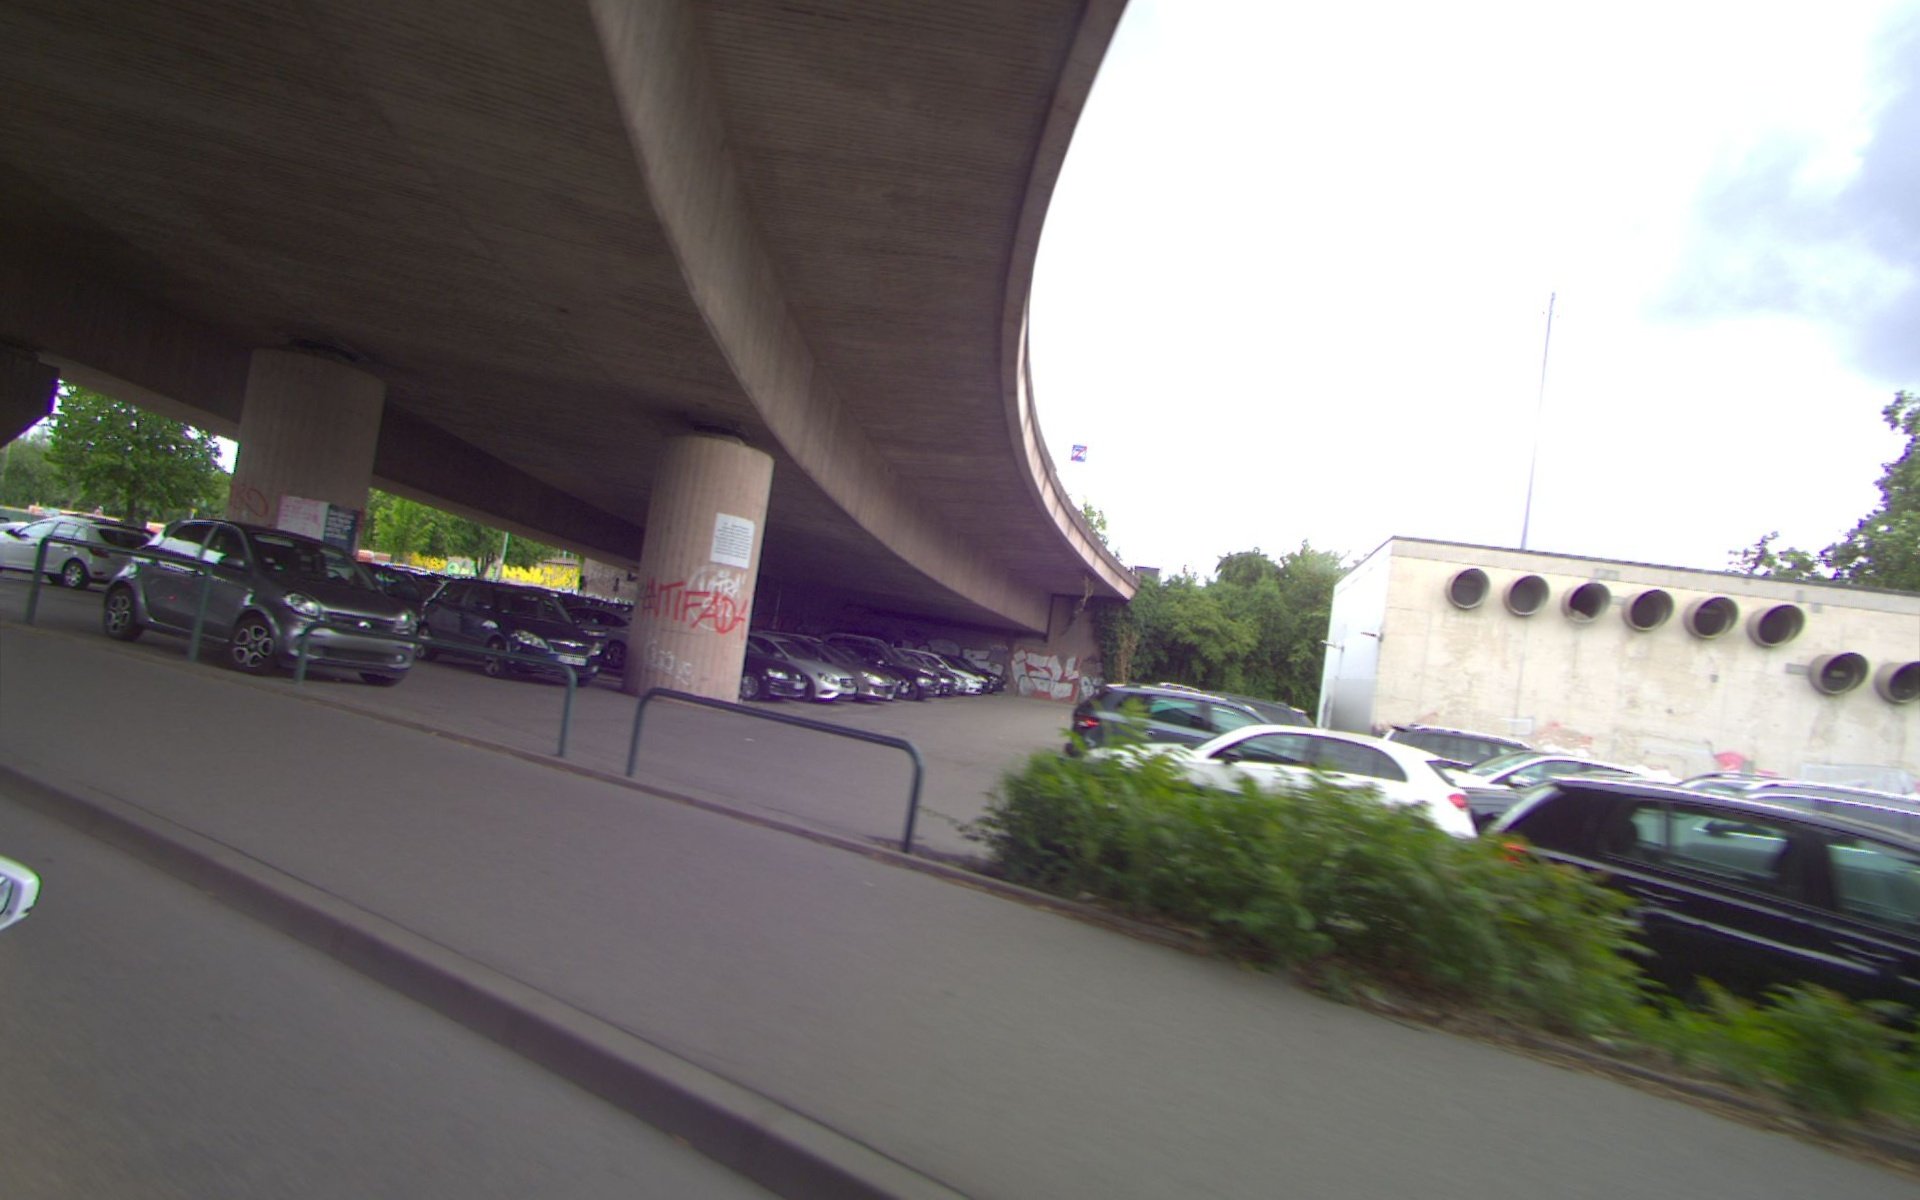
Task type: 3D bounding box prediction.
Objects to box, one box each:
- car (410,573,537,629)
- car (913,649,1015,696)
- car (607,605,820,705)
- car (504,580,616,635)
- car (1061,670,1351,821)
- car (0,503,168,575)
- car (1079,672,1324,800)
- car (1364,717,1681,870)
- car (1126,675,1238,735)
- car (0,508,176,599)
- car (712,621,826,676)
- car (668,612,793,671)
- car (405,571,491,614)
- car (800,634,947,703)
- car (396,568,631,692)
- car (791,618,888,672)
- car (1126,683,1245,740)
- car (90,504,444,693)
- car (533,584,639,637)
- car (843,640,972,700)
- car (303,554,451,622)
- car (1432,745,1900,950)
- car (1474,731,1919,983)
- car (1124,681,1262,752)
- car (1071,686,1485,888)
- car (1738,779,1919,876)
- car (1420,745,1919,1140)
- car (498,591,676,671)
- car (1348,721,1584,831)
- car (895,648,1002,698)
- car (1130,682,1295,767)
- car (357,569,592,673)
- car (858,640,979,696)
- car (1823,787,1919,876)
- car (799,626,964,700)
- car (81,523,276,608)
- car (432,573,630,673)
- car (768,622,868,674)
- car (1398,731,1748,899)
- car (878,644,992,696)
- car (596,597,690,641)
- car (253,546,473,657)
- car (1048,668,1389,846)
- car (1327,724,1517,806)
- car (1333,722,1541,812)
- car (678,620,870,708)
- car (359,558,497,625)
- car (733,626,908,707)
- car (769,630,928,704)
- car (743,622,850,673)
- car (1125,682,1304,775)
[{"bbox_3d":[-18.258,0.040,37.810,3.789,1.450,1.761,8,-2,7],"label":"car"},{"bbox_3d":[0.200,3.259,45.281,4.112,1.482,1.841,8,-2,14],"label":"car"},{"bbox_3d":[-5.522,1.250,22.716,4.112,1.567,1.841,8,-2,14],"label":"car"},{"bbox_3d":[-16.719,0.342,42.146,3.789,1.656,1.761,8,-2,7],"label":"car"},{"bbox_3d":[3.894,2.257,16.240,4.112,1.610,1.841,8,-2,14],"label":"car"},{"bbox_3d":[-26.067,-1.771,29.590,1.481,1.435,4.256,9,-2,12],"label":"car"},{"bbox_3d":[4.484,2.487,18.946,4.112,1.610,1.841,8,-2,14],"label":"car"},{"bbox_3d":[9.625,3.280,17.594,4.348,1.710,1.760,8,-2,14],"label":"car"},{"bbox_3d":[8.888,4.190,40.301,4.112,1.707,1.841,8,-2,14],"label":"car"},{"bbox_3d":[-20.897,-1.125,23.570,3.935,1.569,1.642,8,-2,10],"label":"car"},{"bbox_3d":[-7.012,1.791,37.053,3.593,1.443,1.682,8,-2,14],"label":"car"},{"bbox_3d":[-8.010,1.465,35.240,3.788,1.443,1.682,8,-2,14],"label":"car"},{"bbox_3d":[-23.437,-0.316,46.190,1.549,1.455,3.384,8,-3,13],"label":"car"},{"bbox_3d":[-2.701,2.160,31.762,4.112,1.482,1.841,8,-2,14],"label":"car"},{"bbox_3d":[-7.495,0.474,16.787,3.801,1.522,1.788,5,-5,37],"label":"car"},{"bbox_3d":[-5.282,1.984,44.193,3.593,1.808,1.887,8,-2,14],"label":"car"},{"bbox_3d":[8.497,4.180,37.960,4.112,1.424,1.841,8,-2,14],"label":"car"},{"bbox_3d":[-7.853,-0.015,11.423,3.348,1.549,1.614,7,-4,24],"label":"car"},{"bbox_3d":[-16.400,0.475,44.188,3.789,1.656,1.761,8,-2,7],"label":"car"},{"bbox_3d":[-1.862,2.516,36.115,4.112,1.482,1.841,8,-2,14],"label":"car"},{"bbox_3d":[-19.259,-0.387,33.309,3.789,1.572,1.761,8,-2,7],"label":"car"},{"bbox_3d":[8.601,2.985,12.702,4.374,1.465,1.760,8,-2,14],"label":"car"},{"bbox_3d":[7.999,2.585,10.332,4.385,1.693,1.749,8,-2,14],"label":"car"},{"bbox_3d":[7.592,3.776,32.914,4.112,1.610,1.841,8,-2,14],"label":"car"},{"bbox_3d":[3.533,2.040,11.726,4.112,1.437,1.841,8,-2,14],"label":"car"},{"bbox_3d":[21.735,5.547,24.126,4.403,1.550,1.772,8,-2,14],"label":"car"},{"bbox_3d":[5.063,1.927,5.567,4.185,1.495,1.731,6,-3,38],"label":"car"},{"bbox_3d":[-9.614,0.832,26.067,3.788,1.443,1.841,8,-2,14],"label":"car"},{"bbox_3d":[10.916,3.776,22.021,4.180,1.525,1.712,8,-2,14],"label":"car"},{"bbox_3d":[-0.478,3.119,43.175,4.112,1.482,1.841,8,-2,14],"label":"car"},{"bbox_3d":[6.969,3.416,27.987,4.112,1.610,1.841,8,-2,14],"label":"car"},{"bbox_3d":[-10.394,0.467,21.602,4.298,1.485,1.842,8,-4,18],"label":"car"},{"bbox_3d":[-1.550,2.597,38.268,4.112,1.482,1.841,8,-2,14],"label":"car"},{"bbox_3d":[21.434,5.234,21.601,3.900,1.550,1.772,8,-2,14],"label":"car"},{"bbox_3d":[-2.634,2.131,34.097,5.009,1.695,2.095,8,-2,14],"label":"car"},{"bbox_3d":[-20.361,-0.885,26.289,3.789,1.526,1.701,8,-2,7],"label":"car"},{"bbox_3d":[-10.100,0.563,23.793,3.788,1.717,1.841,8,-2,14],"label":"car"},{"bbox_3d":[-5.907,2.014,42.042,3.593,1.616,1.682,8,-2,14],"label":"car"},{"bbox_3d":[9.025,3.137,15.182,4.010,1.574,1.760,8,-2,14],"label":"car"},{"bbox_3d":[-0.996,2.839,40.768,4.112,1.482,1.841,8,-2,14],"label":"car"},{"bbox_3d":[-15.333,0.926,48.690,3.789,1.495,1.761,8,-2,7],"label":"car"},{"bbox_3d":[-11.430,0.041,19.323,3.311,1.515,1.535,8,-4,14],"label":"car"},{"bbox_3d":[3.487,2.074,13.952,4.112,1.610,1.841,8,-2,14],"label":"car"},{"bbox_3d":[12.063,4.289,26.543,4.180,1.320,1.712,8,-2,14],"label":"car"},{"bbox_3d":[11.496,4.011,24.531,4.180,1.320,1.712,8,-2,14],"label":"car"},{"bbox_3d":[-4.546,1.576,24.816,4.112,1.482,1.841,8,-2,14],"label":"car"},{"bbox_3d":[-18.715,-0.289,35.498,3.789,1.713,1.761,8,-2,7],"label":"car"},{"bbox_3d":[-3.692,1.782,26.935,4.112,1.482,1.841,8,-2,14],"label":"car"},{"bbox_3d":[-3.245,1.966,29.587,4.112,1.482,1.841,8,-2,14],"label":"car"},{"bbox_3d":[-6.365,1.870,39.341,3.593,1.443,1.682,8,-2,14],"label":"car"},{"bbox_3d":[6.421,3.211,25.637,4.112,1.610,1.841,8,-2,14],"label":"car"}]
